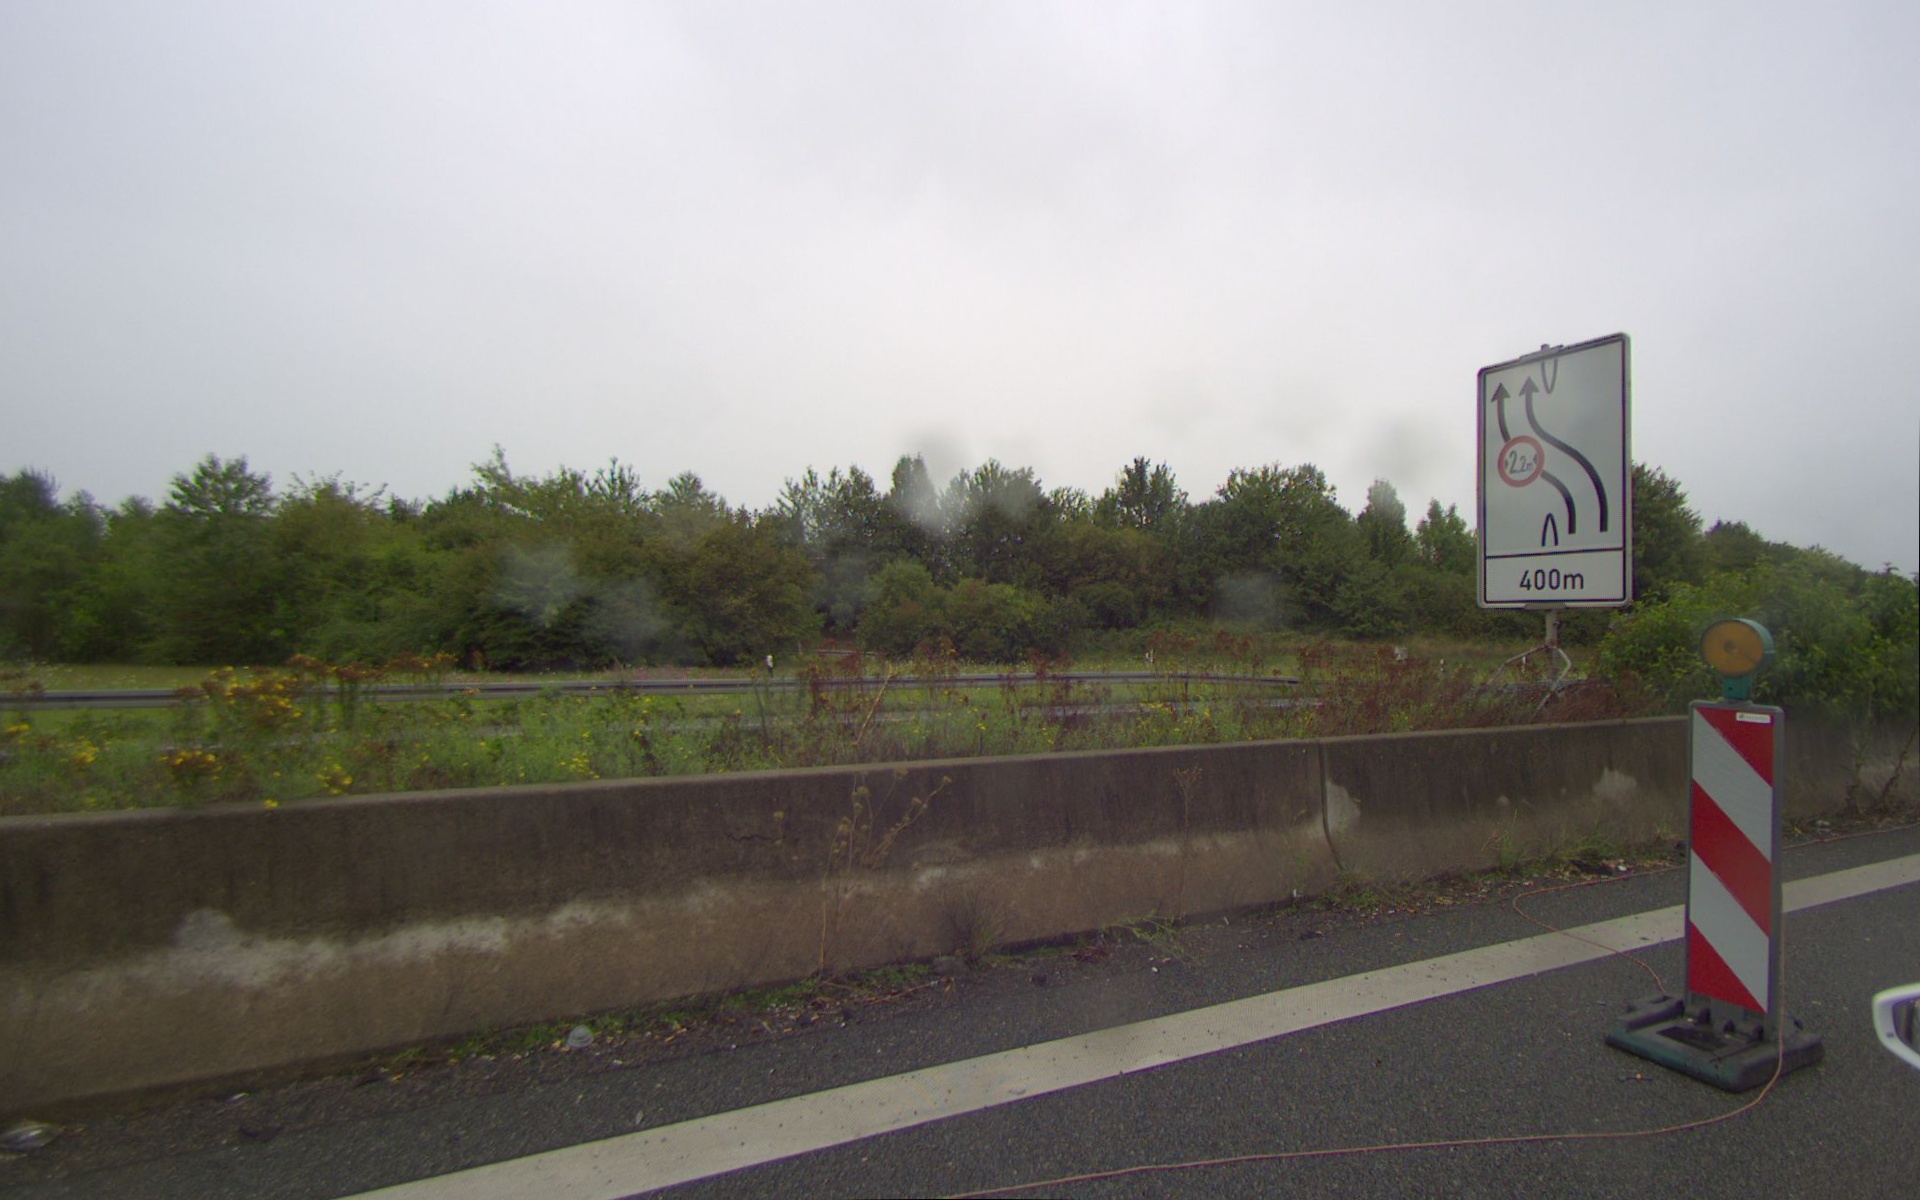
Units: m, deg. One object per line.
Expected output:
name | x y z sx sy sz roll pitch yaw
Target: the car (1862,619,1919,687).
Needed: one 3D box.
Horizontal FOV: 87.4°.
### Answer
car | 37.017 1.955 38.133 5.808 2.473 2.232 1 -2 -28
